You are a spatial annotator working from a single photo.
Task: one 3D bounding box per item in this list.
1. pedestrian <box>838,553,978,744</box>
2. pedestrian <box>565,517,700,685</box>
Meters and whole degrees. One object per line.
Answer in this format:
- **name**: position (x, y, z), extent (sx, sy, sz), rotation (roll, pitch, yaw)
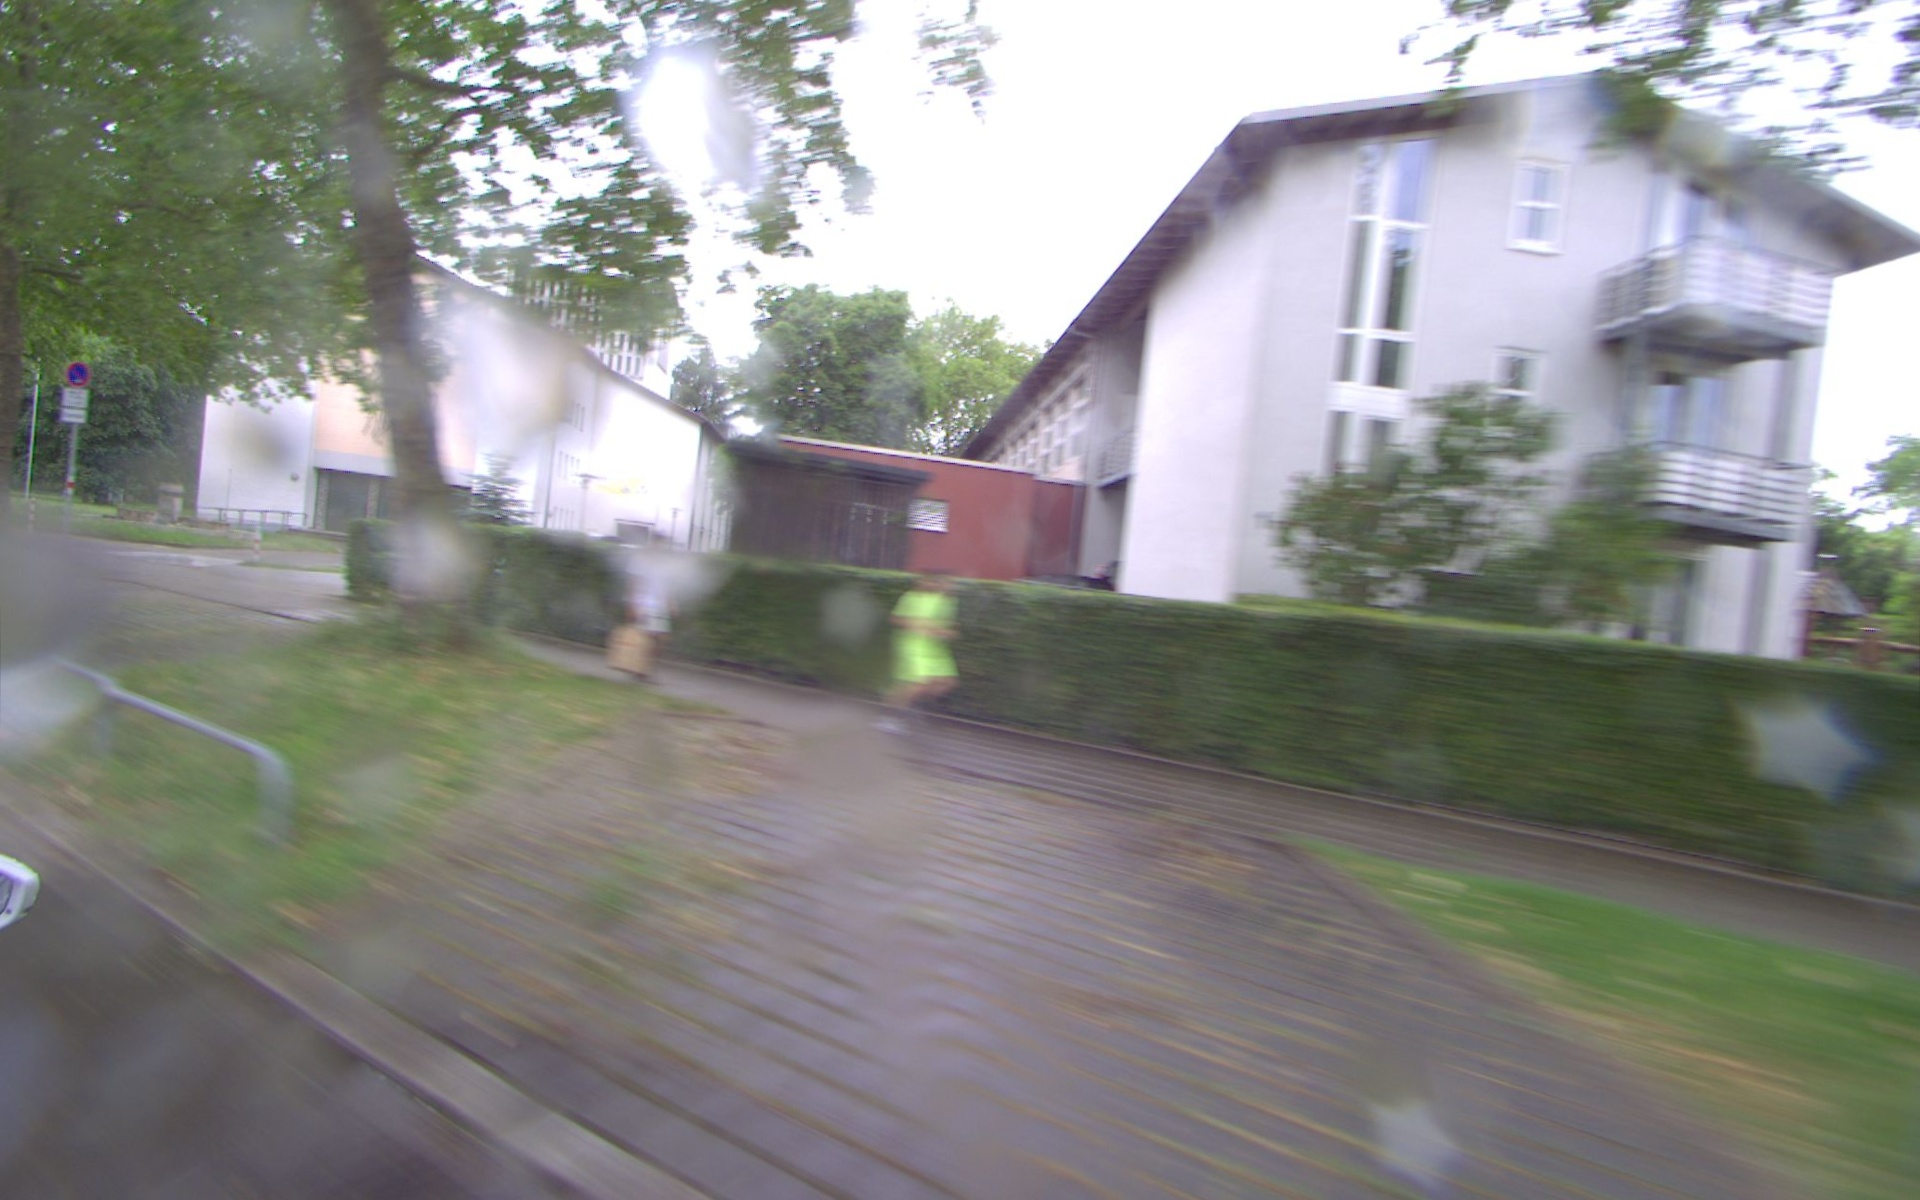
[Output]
- **pedestrian**: position (-0.464, 0.417, 9.020), extent (0.950, 1.558, 0.557), rotation (7, 2, 27)
- **pedestrian**: position (-3.310, 0.012, 10.199), extent (0.845, 1.559, 0.834), rotation (7, 3, 27)
